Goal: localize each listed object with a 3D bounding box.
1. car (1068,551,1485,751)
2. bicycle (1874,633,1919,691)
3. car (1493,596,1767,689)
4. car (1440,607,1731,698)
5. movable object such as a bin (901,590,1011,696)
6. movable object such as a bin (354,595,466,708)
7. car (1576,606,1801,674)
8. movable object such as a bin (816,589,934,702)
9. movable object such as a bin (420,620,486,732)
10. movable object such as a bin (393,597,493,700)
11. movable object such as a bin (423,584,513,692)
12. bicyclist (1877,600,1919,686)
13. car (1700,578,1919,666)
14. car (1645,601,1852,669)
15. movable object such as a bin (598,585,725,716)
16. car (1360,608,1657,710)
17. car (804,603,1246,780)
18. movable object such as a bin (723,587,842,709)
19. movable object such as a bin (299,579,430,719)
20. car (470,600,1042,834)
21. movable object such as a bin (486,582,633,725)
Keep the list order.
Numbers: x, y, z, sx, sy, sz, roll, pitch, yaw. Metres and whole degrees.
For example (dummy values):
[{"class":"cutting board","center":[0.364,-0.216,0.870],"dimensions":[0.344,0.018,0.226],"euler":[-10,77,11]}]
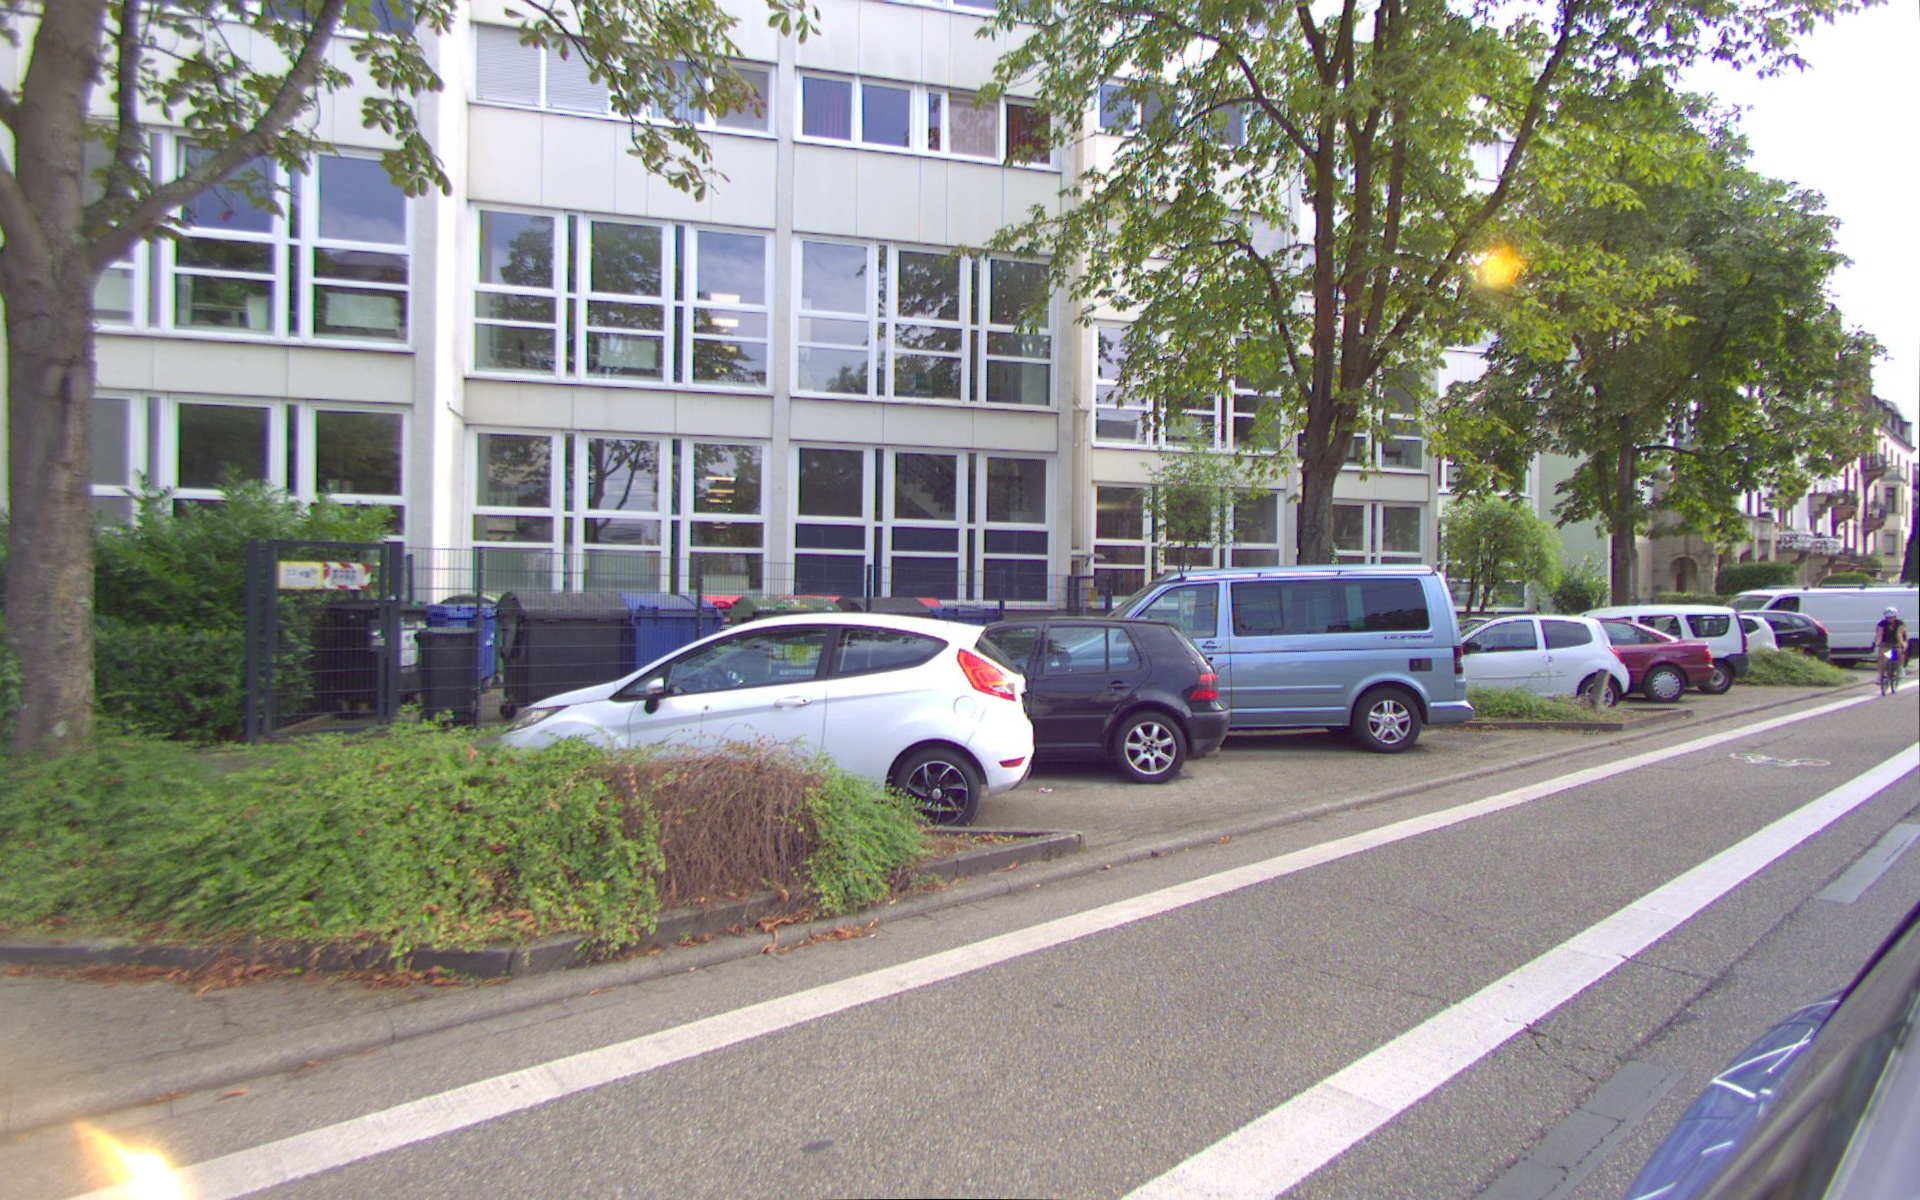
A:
[{"class":"car","center":[3.360,0.516,11.482],"dimensions":[4.201,2.040,1.828],"euler":[0,0,6]},{"class":"bicycle","center":[18.178,1.171,19.493],"dimensions":[2.036,0.993,0.639],"euler":[1,1,-43]},{"class":"car","center":[12.768,0.779,19.494],"dimensions":[4.036,1.689,1.687],"euler":[0,0,5]},{"class":"car","center":[10.698,0.861,17.568],"dimensions":[3.909,1.451,1.685],"euler":[0,0,8]},{"class":"movable object such as a bin","center":[-0.063,0.631,15.425],"dimensions":[1.299,1.527,1.071],"euler":[1,-1,-39]},{"class":"movable object such as a bin","center":[-7.058,0.644,13.055],"dimensions":[1.056,1.385,1.037],"euler":[0,-1,-16]},{"class":"car","center":[17.224,0.918,24.092],"dimensions":[4.020,1.530,1.687],"euler":[0,0,6]},{"class":"movable object such as a bin","center":[-1.213,0.618,14.419],"dimensions":[1.299,1.527,1.071],"euler":[1,-1,-39]},{"class":"movable object such as a bin","center":[-5.319,0.773,10.600],"dimensions":[0.561,1.117,0.653],"euler":[1,-1,-31]},{"class":"movable object such as a bin","center":[-7.194,0.654,14.152],"dimensions":[1.056,1.385,1.037],"euler":[0,-1,-16]},{"class":"movable object such as a bin","center":[-7.498,0.568,15.476],"dimensions":[1.056,1.582,1.037],"euler":[0,-1,-16]},{"class":"bicyclist","center":[18.154,0.801,19.474],"dimensions":[1.091,1.590,0.639],"euler":[1,0,-42]},{"class":"car","center":[24.091,0.581,28.314],"dimensions":[4.875,2.319,2.379],"euler":[0,0,8]},{"class":"car","center":[20.276,0.877,26.155],"dimensions":[3.891,1.669,1.687],"euler":[0,0,6]},{"class":"movable object such as a bin","center":[-3.705,0.592,12.555],"dimensions":[1.192,1.527,1.071],"euler":[1,-1,-39]},{"class":"car","center":[8.360,0.867,15.700],"dimensions":[3.651,1.451,1.687],"euler":[0,0,6]},{"class":"car","center":[0.571,0.769,9.460],"dimensions":[3.759,1.478,1.675],"euler":[0,0,4]},{"class":"movable object such as a bin","center":[-2.361,0.605,13.449],"dimensions":[1.192,1.527,1.071],"euler":[1,-1,-39]},{"class":"movable object such as a bin","center":[-6.916,0.542,11.835],"dimensions":[1.056,1.542,1.121],"euler":[0,-1,-16]},{"class":"car","center":[-1.314,0.743,7.378],"dimensions":[3.759,1.478,1.639],"euler":[0,0,4]},{"class":"movable object such as a bin","center":[-4.598,0.580,11.618],"dimensions":[1.310,1.527,1.071],"euler":[1,-1,-39]}]
